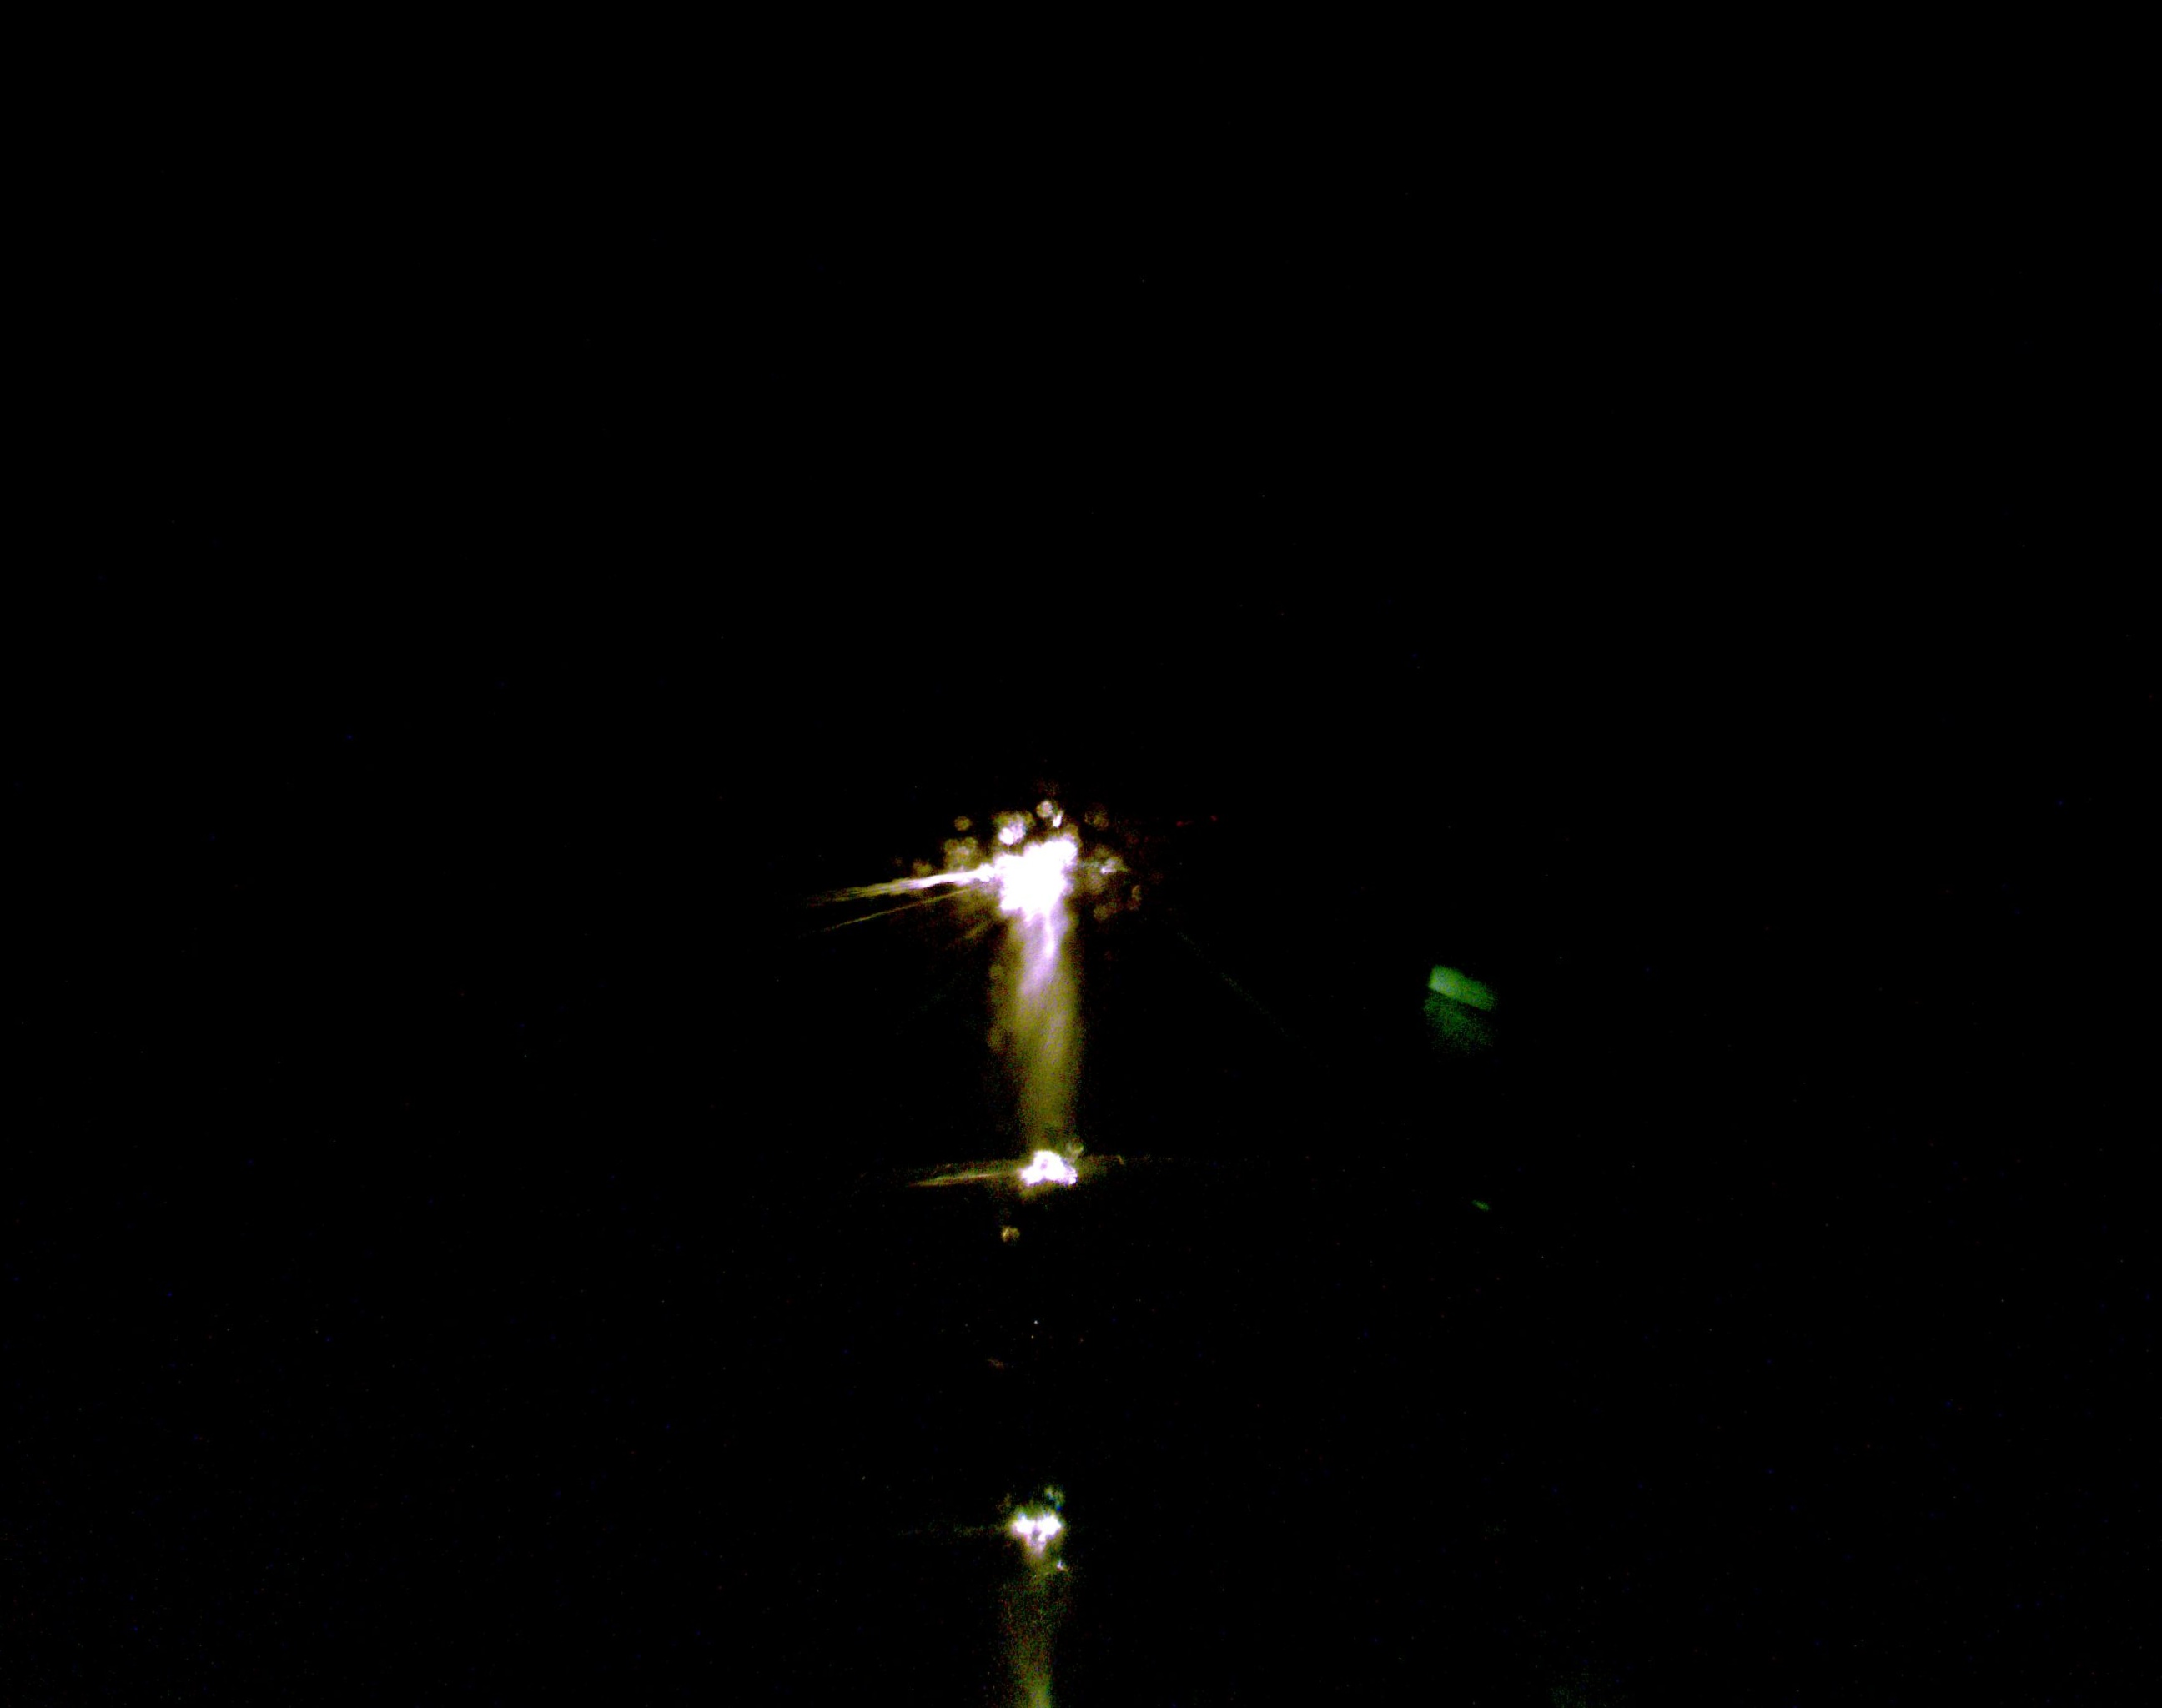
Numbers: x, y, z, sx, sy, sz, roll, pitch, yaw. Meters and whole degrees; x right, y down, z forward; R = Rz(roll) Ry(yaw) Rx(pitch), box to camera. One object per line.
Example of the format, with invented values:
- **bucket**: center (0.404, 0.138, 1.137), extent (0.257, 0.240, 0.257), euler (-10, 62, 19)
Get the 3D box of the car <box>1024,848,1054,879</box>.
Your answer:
- **car**: center (-3.185, 0.666, 62.563), extent (1.987, 2.272, 5.467), euler (-1, 0, 0)
